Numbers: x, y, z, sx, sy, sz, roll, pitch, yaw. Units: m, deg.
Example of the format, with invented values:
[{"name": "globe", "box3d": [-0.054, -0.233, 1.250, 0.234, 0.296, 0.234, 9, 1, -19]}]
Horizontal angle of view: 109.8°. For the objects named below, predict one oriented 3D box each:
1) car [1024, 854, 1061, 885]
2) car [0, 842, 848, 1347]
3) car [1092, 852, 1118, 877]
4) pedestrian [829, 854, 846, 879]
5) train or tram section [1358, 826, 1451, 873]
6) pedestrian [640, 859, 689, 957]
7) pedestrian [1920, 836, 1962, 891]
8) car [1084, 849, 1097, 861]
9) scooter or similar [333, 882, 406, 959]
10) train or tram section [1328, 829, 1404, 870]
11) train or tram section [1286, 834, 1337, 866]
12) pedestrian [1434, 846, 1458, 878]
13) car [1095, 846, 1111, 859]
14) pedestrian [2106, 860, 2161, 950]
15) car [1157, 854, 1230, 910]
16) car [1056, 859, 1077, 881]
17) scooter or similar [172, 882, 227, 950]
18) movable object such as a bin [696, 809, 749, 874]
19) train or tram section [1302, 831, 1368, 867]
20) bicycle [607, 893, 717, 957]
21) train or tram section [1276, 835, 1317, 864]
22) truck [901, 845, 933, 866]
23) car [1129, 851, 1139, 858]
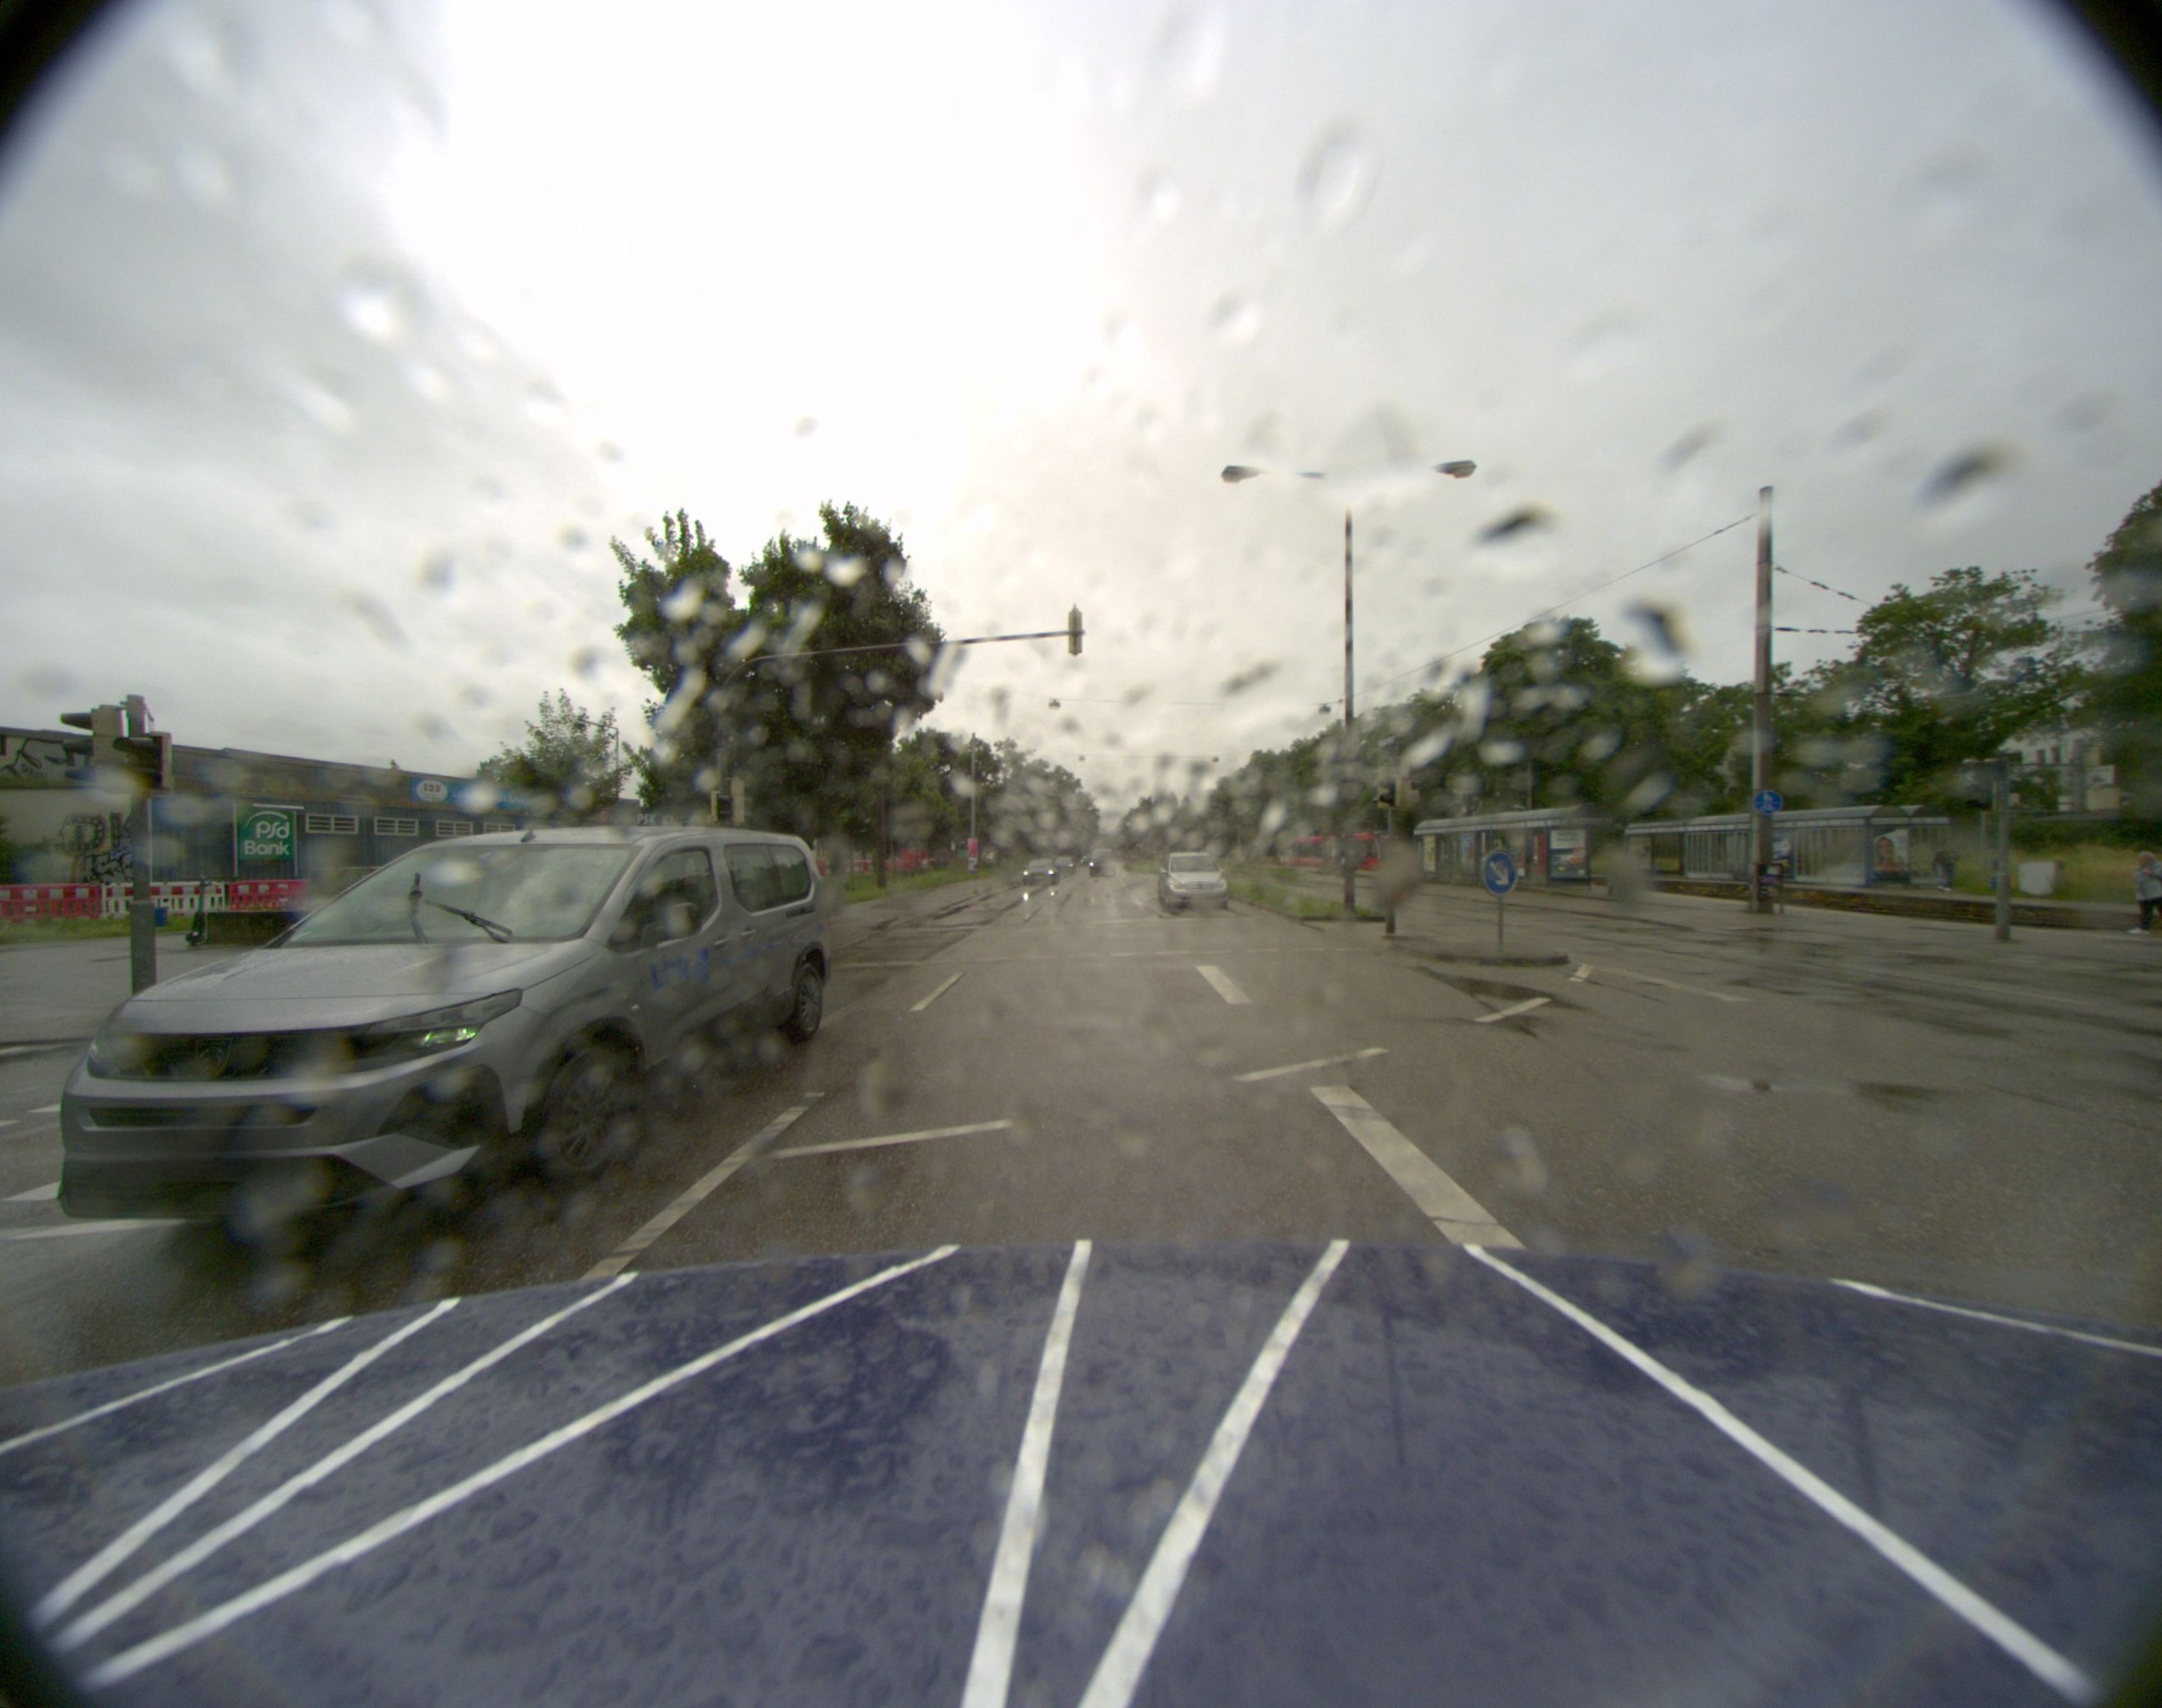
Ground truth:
[{"name": "car", "box3d": [-2.179, 0.862, 43.946, 1.858, 1.583, 3.999, -2, 1, 0]}, {"name": "car", "box3d": [-3.316, 0.859, 5.017, 1.998, 1.785, 4.562, -2, 1, 1]}, {"name": "car", "box3d": [1.805, 0.778, 56.939, 1.812, 1.683, 3.777, -2, 1, 2]}, {"name": "pedestrian", "box3d": [-19.157, 0.962, 59.779, 0.814, 1.925, 1.212, -2, 1, 0]}, {"name": "train or tram section", "box3d": [24.728, -0.352, 58.773, 3.541, 3.370, 9.278, 0, 0, 2]}, {"name": "pedestrian", "box3d": [-7.526, 0.950, 13.706, 0.670, 1.669, 0.787, 2, 1, -32]}, {"name": "pedestrian", "box3d": [28.772, 0.320, 25.422, 0.631, 1.782, 0.681, -2, 1, 1]}, {"name": "car", "box3d": [1.356, 0.166, 109.937, 1.726, 1.643, 3.999, -2, 1, 1]}, {"name": "scooter or similar", "box3d": [-12.027, 1.114, 12.847, 0.959, 1.222, 0.322, 2, 1, 6]}, {"name": "train or tram section", "box3d": [25.021, -0.408, 67.346, 3.541, 3.370, 9.278, 0, 0, 2]}, {"name": "train or tram section", "box3d": [25.643, -0.492, 84.972, 3.541, 3.392, 7.903, 0, 0, 2]}, {"name": "pedestrian", "box3d": [18.166, 0.397, 37.850, 0.806, 1.588, 0.929, -1, 1, 4]}, {"name": "car", "box3d": [2.814, -0.206, 95.353, 1.898, 1.602, 4.000, -2, 1, 2]}, {"name": "pedestrian", "box3d": [20.724, 0.959, 14.666, 0.803, 1.648, 0.783, -2, 1, 7]}, {"name": "car", "box3d": [3.352, 0.790, 23.267, 1.740, 1.535, 4.014, -1, 0, 2]}, {"name": "car", "box3d": [-1.187, 1.277, 63.387, 1.651, 1.652, 3.776, -2, 1, -1]}, {"name": "scooter or similar", "box3d": [-15.797, 1.096, 13.628, 0.286, 1.169, 0.560, 0, 1, 8]}, {"name": "movable object such as a bin", "box3d": [-25.373, -0.887, 53.937, 1.557, 4.401, 3.909, -2, 1, 3]}, {"name": "train or tram section", "box3d": [25.327, -0.465, 76.360, 3.541, 3.381, 10.261, 0, 0, 2]}, {"name": "bicycle", "box3d": [-7.550, 1.265, 13.704, 1.668, 1.032, 0.787, 3, 1, -32]}, {"name": "train or tram section", "box3d": [25.852, -0.524, 91.377, 3.541, 3.398, 5.770, 0, 0, 2]}, {"name": "truck", "box3d": [-25.112, 0.191, 116.601, 2.811, 2.882, 8.749, -2, 1, 1]}, {"name": "car", "box3d": [10.544, 0.004, 152.207, 1.684, 1.353, 4.251, 2, 0, 0]}]
